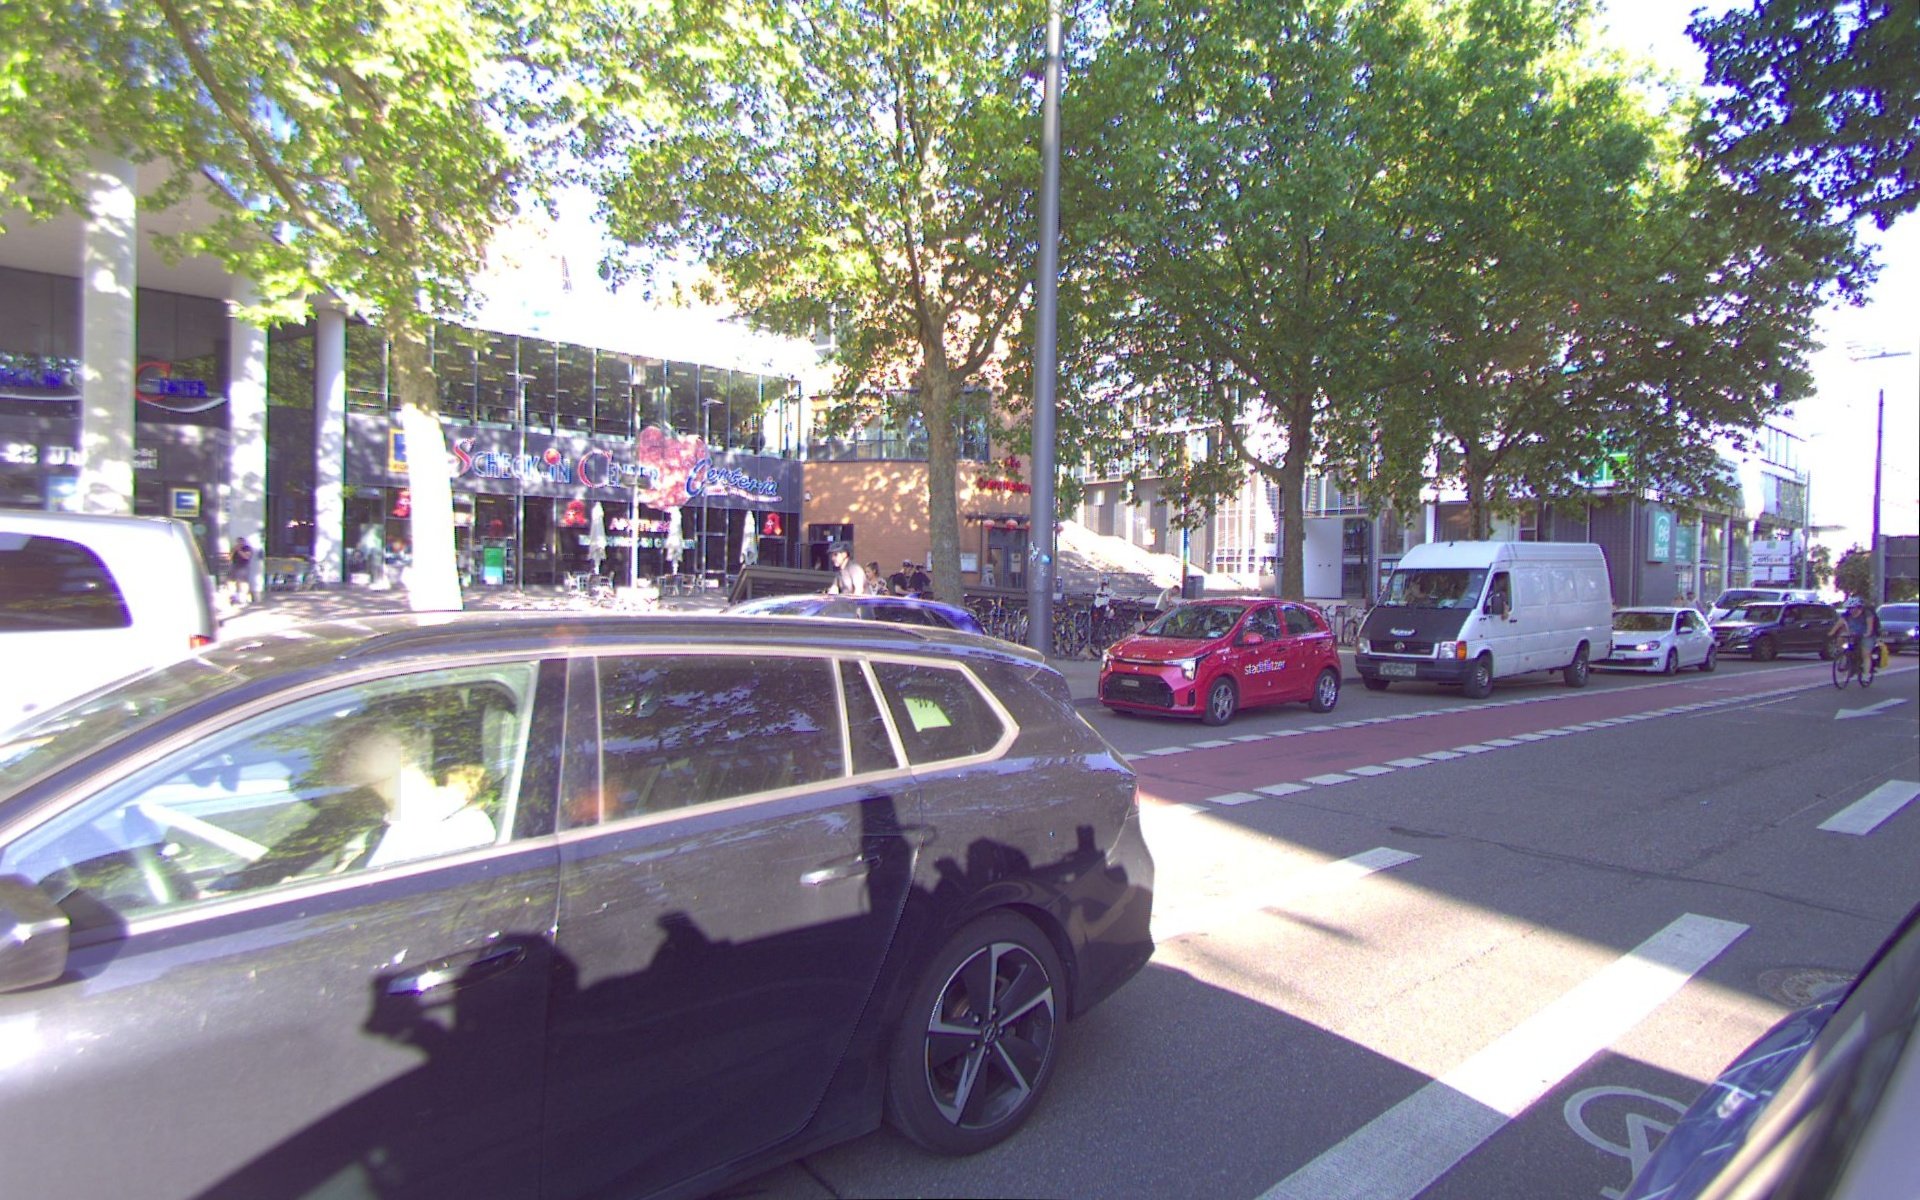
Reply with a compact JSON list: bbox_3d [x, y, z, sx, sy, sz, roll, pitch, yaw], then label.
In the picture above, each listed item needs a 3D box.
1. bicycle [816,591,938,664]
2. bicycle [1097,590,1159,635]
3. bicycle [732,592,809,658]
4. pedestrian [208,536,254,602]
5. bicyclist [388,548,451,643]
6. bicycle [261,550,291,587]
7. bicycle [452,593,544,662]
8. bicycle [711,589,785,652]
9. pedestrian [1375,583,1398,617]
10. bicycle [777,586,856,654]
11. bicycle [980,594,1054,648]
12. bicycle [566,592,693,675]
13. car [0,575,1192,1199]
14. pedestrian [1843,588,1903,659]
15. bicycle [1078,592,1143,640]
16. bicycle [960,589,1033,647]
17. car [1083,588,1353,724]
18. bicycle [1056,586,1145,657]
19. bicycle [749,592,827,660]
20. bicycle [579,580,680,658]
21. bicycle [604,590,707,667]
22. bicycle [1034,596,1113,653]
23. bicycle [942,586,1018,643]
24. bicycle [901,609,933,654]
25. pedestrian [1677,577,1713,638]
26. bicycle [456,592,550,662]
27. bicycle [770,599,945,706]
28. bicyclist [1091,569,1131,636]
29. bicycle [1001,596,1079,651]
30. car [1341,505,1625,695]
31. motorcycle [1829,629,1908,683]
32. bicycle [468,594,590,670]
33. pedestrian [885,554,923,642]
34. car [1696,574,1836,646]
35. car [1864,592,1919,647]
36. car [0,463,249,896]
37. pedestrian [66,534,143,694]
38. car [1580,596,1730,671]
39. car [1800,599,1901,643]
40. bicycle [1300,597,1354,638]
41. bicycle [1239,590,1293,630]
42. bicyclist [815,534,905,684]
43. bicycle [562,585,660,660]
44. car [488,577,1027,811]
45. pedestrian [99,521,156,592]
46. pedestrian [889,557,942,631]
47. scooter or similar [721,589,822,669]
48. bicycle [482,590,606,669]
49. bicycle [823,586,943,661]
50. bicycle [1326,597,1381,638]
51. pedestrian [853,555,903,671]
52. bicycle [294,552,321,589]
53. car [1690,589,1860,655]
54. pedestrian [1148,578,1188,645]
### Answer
[{"bbox_3d":[-1.367,0.450,16.575,1.908,1.130,0.598,1,1,-13],"label":"bicycle"},{"bbox_3d":[4.492,0.332,26.978,1.622,1.140,0.598,0,1,-32],"label":"bicycle"},{"bbox_3d":[-3.510,0.443,18.813,0.420,1.174,1.455,2,1,41],"label":"bicycle"},{"bbox_3d":[-18.866,-0.805,26.190,0.851,1.661,0.966,0,1,-44],"label":"pedestrian"},{"bbox_3d":[-10.419,-0.100,19.523,0.846,1.789,0.744,2,1,33],"label":"bicyclist"},{"bbox_3d":[-21.482,-0.995,31.794,0.705,1.142,1.921,1,2,-32],"label":"bicycle"},{"bbox_3d":[-7.254,0.425,15.928,1.293,1.038,0.397,1,1,-24],"label":"bicycle"},{"bbox_3d":[-4.134,0.382,19.828,0.420,1.174,1.455,2,1,41],"label":"bicycle"},{"bbox_3d":[18.897,0.002,44.870,0.589,1.474,0.713,1,1,-37],"label":"pedestrian"},{"bbox_3d":[-2.585,0.335,18.358,0.478,1.174,1.455,2,1,41],"label":"bicycle"},{"bbox_3d":[1.189,0.417,20.869,1.626,1.044,0.503,0,1,-41],"label":"bicycle"},{"bbox_3d":[-4.540,0.442,13.934,1.542,1.070,0.630,0,1,-35],"label":"bicycle"},{"bbox_3d":[-1.473,0.684,2.465,4.270,1.443,1.825,0,0,-41],"label":"car"},{"bbox_3d":[16.723,0.415,18.544,0.760,1.240,0.665,0,1,-37],"label":"pedestrian"},{"bbox_3d":[3.760,0.376,25.226,1.747,1.140,0.567,0,1,-41],"label":"bicycle"},{"bbox_3d":[0.778,0.363,21.293,1.626,1.151,0.503,0,1,-41],"label":"bicycle"},{"bbox_3d":[3.343,0.600,12.815,3.558,1.482,1.561,0,1,-41],"label":"car"},{"bbox_3d":[2.692,0.386,19.312,1.843,1.280,0.596,0,1,-41],"label":"bicycle"},{"bbox_3d":[-3.126,0.456,18.507,0.420,1.174,1.455,2,1,41],"label":"bicycle"},{"bbox_3d":[-5.191,0.285,15.948,1.451,1.174,0.421,0,1,-42],"label":"bicycle"},{"bbox_3d":[-4.593,0.410,15.331,1.451,1.095,0.421,0,1,-42],"label":"bicycle"},{"bbox_3d":[2.240,0.461,19.847,1.626,1.044,0.596,0,1,-41],"label":"bicycle"},{"bbox_3d":[0.441,0.309,21.720,1.662,1.174,0.479,0,1,-37],"label":"bicycle"},{"bbox_3d":[-0.808,0.571,18.875,0.391,0.770,1.114,1,1,-13],"label":"bicycle"},{"bbox_3d":[24.920,0.236,34.328,0.652,2.039,0.809,0,0,-34],"label":"pedestrian"},{"bbox_3d":[-6.988,0.405,15.507,1.293,1.038,0.397,1,1,-24],"label":"bicycle"},{"bbox_3d":[-1.193,0.585,12.135,2.089,1.134,0.551,0,5,-41],"label":"bicycle"},{"bbox_3d":[3.752,0.055,25.208,0.807,1.636,0.563,0,1,-40],"label":"bicyclist"},{"bbox_3d":[1.626,0.461,20.423,1.626,1.044,0.596,0,1,-41],"label":"bicycle"},{"bbox_3d":[9.246,-0.009,17.560,6.443,2.759,1.998,0,0,-39],"label":"car"},{"bbox_3d":[16.641,0.999,18.515,2.181,0.859,0.667,0,2,-38],"label":"motorcycle"},{"bbox_3d":[-6.213,0.440,14.636,1.546,1.038,0.461,0,2,-43],"label":"bicycle"},{"bbox_3d":[-1.176,-0.046,21.157,0.756,1.779,0.821,1,1,-3],"label":"pedestrian"},{"bbox_3d":[26.234,0.288,32.881,5.189,2.160,2.130,0,2,-35],"label":"car"},{"bbox_3d":[30.192,0.600,31.666,3.921,1.593,1.763,0,1,-31],"label":"car"},{"bbox_3d":[-6.259,0.363,4.386,5.047,1.991,1.997,0,0,-41],"label":"car"},{"bbox_3d":[-9.801,0.140,11.588,0.618,1.737,1.074,0,0,-43],"label":"pedestrian"},{"bbox_3d":[15.388,0.673,22.357,3.798,1.482,1.671,0,2,-38],"label":"car"},{"bbox_3d":[32.254,0.719,36.627,3.944,1.437,1.788,0,2,-34],"label":"car"},{"bbox_3d":[10.102,0.471,27.860,1.624,1.060,0.597,0,1,-37],"label":"bicycle"},{"bbox_3d":[8.608,0.272,28.476,1.624,1.060,0.597,0,1,-37],"label":"bicycle"},{"bbox_3d":[-1.210,0.086,12.208,0.702,1.708,0.752,0,4,-40],"label":"bicyclist"},{"bbox_3d":[-5.648,0.349,16.418,1.450,1.174,0.421,0,1,-40],"label":"bicycle"},{"bbox_3d":[-1.533,0.586,8.563,4.143,1.482,1.768,0,2,-41],"label":"car"},{"bbox_3d":[-22.415,-1.159,27.281,0.834,1.866,1.002,1,1,-15],"label":"pedestrian"},{"bbox_3d":[-1.103,-0.151,24.895,1.000,1.779,0.789,0,1,-35],"label":"pedestrian"},{"bbox_3d":[-2.921,0.441,15.713,1.249,1.156,0.905,-2,0,37],"label":"scooter or similar"},{"bbox_3d":[-5.829,0.392,14.229,1.546,1.038,0.461,0,2,-43],"label":"bicycle"},{"bbox_3d":[-1.213,0.371,15.924,1.788,1.130,0.598,1,1,-13],"label":"bicycle"},{"bbox_3d":[10.605,0.465,27.263,1.624,1.060,0.597,0,1,-37],"label":"bicycle"},{"bbox_3d":[-1.318,0.195,16.214,0.644,1.808,0.810,1,1,-14],"label":"pedestrian"},{"bbox_3d":[-20.827,-0.951,32.324,0.705,1.142,1.921,1,2,-32],"label":"bicycle"},{"bbox_3d":[22.308,0.580,27.714,3.937,1.658,1.791,1,1,-20],"label":"car"},{"bbox_3d":[5.287,0.283,25.715,0.623,1.651,0.719,1,1,-34],"label":"pedestrian"}]
